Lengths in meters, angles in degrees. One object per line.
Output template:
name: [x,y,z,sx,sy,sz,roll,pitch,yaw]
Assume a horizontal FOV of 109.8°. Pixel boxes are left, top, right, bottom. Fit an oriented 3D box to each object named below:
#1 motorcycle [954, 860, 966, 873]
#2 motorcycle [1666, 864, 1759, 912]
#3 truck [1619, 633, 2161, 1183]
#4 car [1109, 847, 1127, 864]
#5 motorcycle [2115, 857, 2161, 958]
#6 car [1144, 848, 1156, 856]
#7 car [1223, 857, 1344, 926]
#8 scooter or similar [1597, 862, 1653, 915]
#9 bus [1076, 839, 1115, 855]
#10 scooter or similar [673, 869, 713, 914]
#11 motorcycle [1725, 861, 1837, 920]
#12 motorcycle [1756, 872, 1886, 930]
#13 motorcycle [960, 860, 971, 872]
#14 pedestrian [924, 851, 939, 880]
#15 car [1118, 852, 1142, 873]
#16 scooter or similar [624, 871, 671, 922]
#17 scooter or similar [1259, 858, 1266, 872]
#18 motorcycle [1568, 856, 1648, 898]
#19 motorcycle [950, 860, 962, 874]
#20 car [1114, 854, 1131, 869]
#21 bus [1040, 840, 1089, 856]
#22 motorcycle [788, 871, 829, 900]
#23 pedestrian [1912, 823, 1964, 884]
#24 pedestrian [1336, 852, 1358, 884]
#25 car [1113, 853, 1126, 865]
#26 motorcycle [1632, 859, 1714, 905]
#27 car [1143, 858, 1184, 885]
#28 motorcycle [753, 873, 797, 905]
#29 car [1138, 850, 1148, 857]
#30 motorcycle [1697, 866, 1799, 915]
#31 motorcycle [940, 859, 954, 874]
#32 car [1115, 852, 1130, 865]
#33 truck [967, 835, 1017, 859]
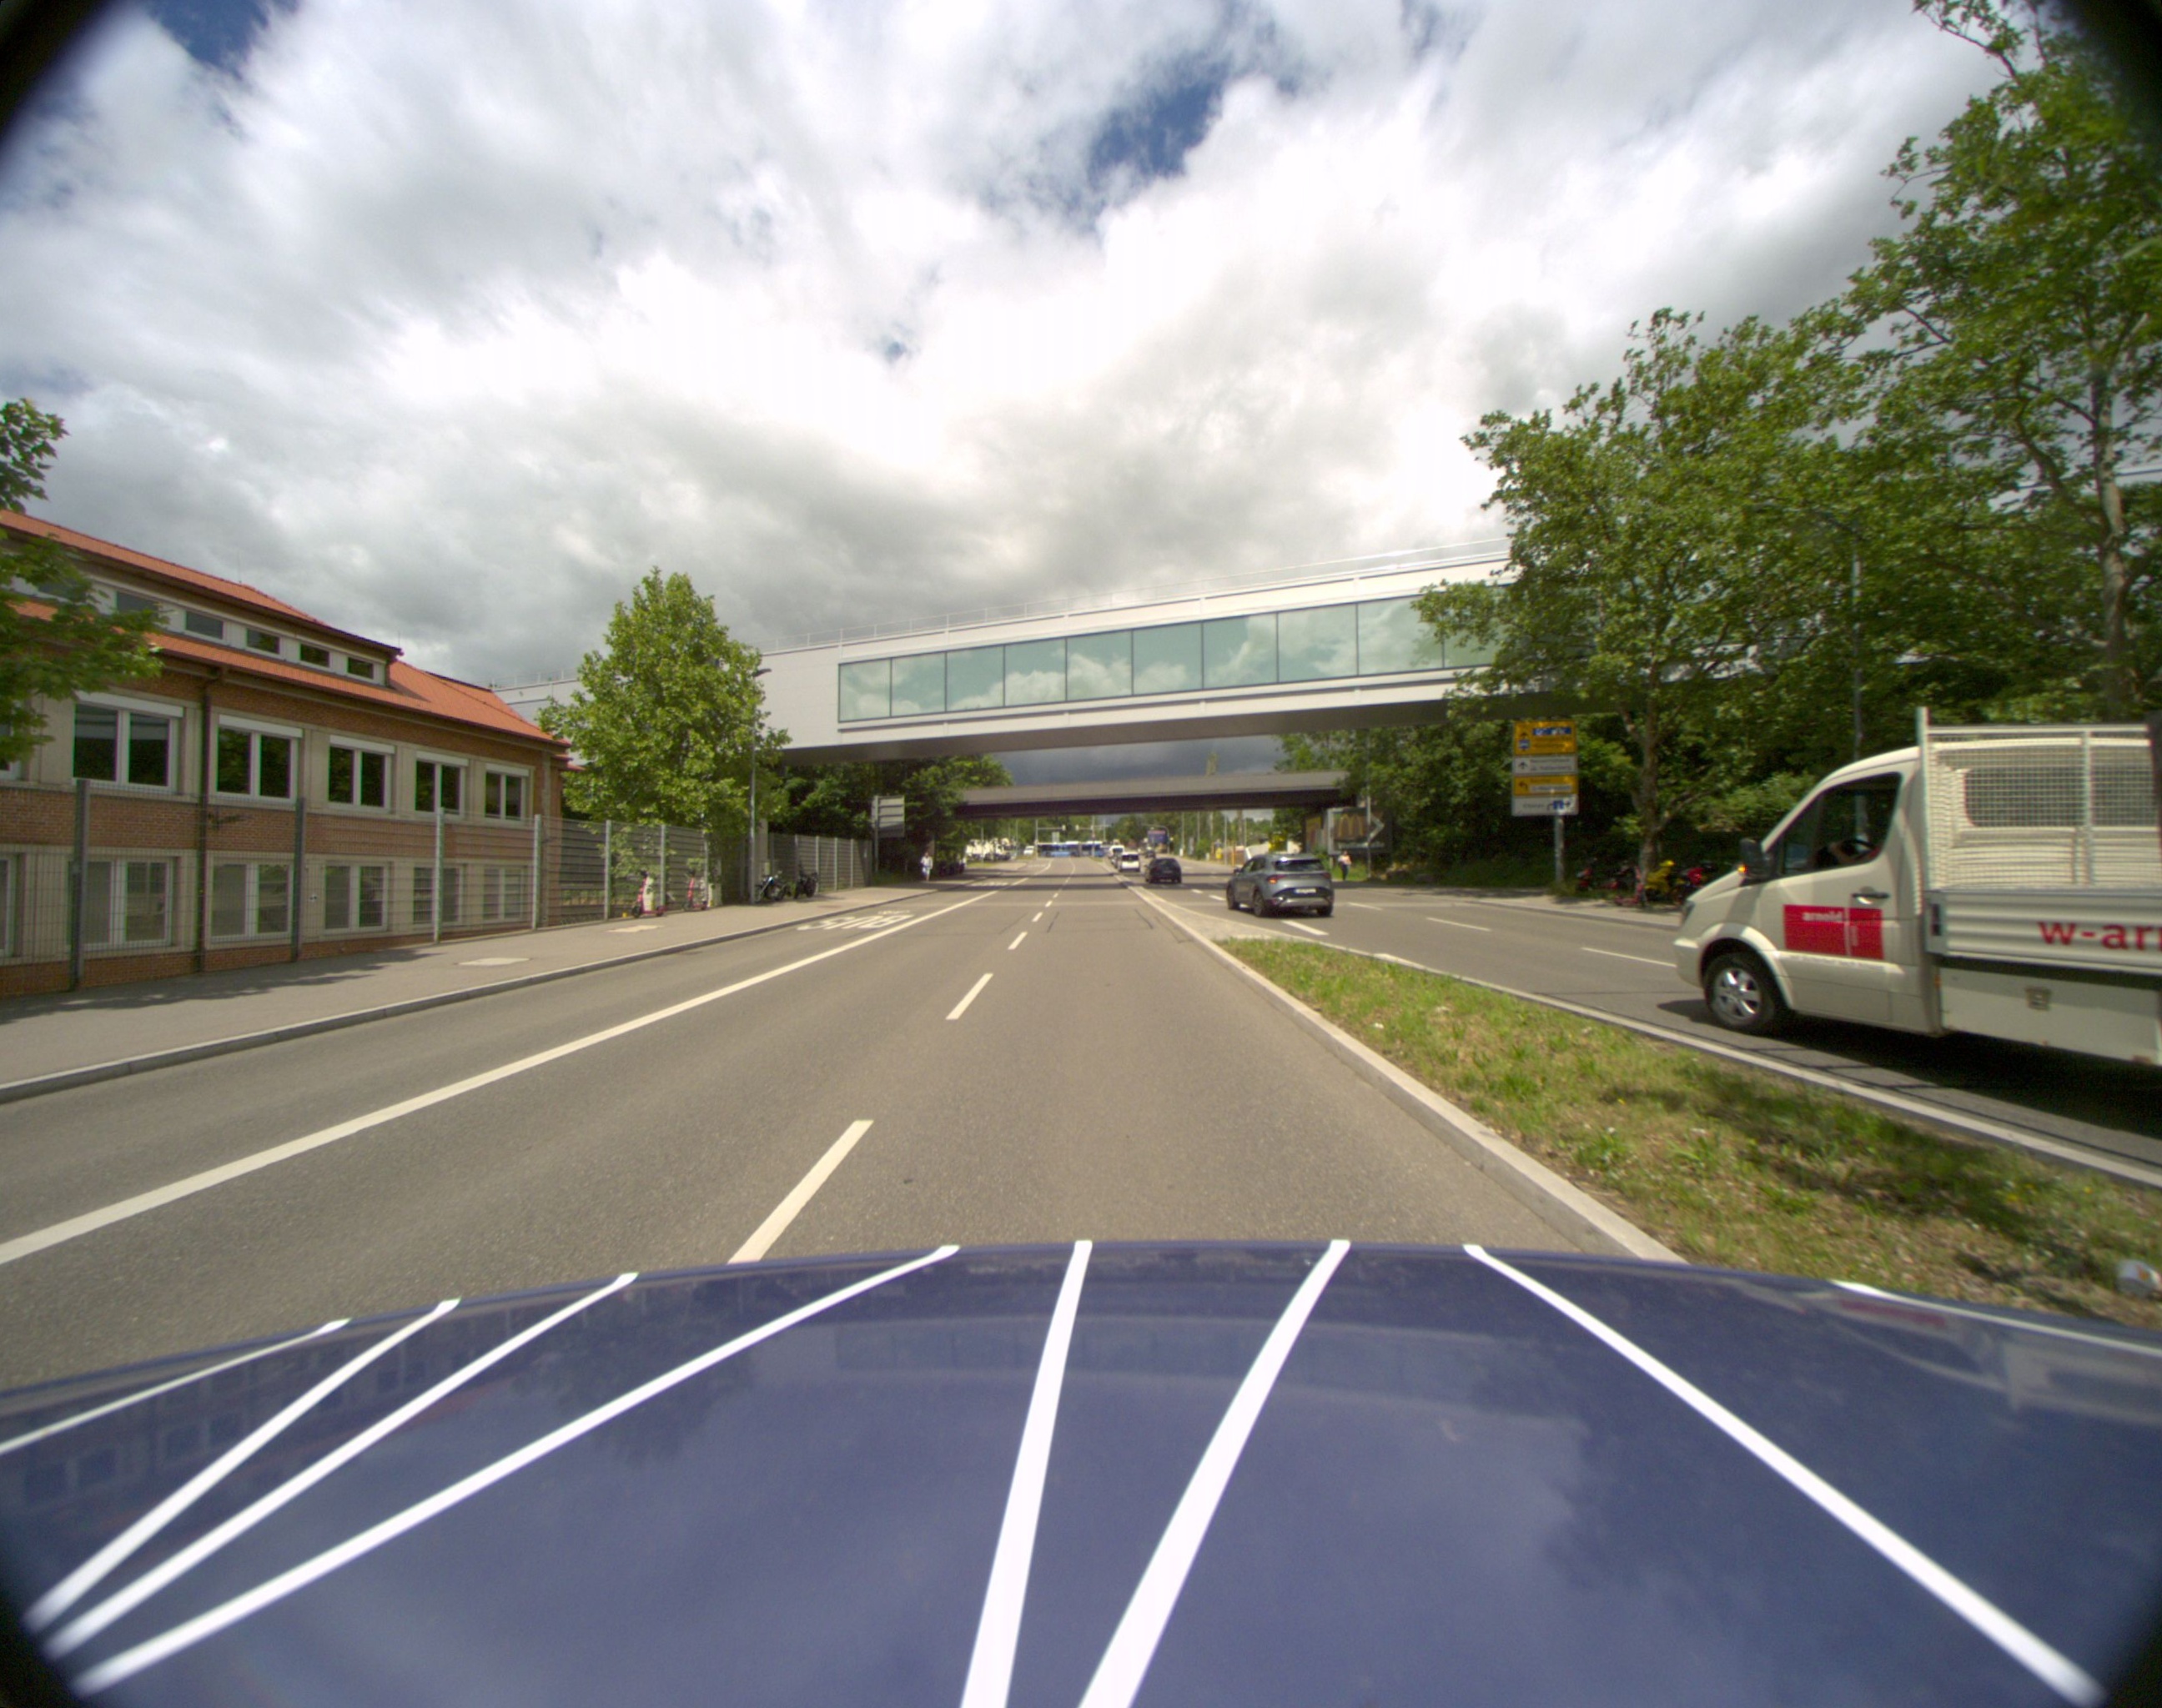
motorcycle: [-10.448,1.077,65.491,0.679,1.076,2.038,0,0,0]
motorcycle: [15.779,0.841,19.016,1.594,1.116,0.776,-3,-1,2]
truck: [6.626,0.260,4.433,2.485,2.735,6.458,-1,0,1]
car: [5.600,0.153,113.201,2.044,2.458,5.575,-2,0,8]
motorcycle: [15.462,0.677,10.024,1.934,1.336,0.866,-3,-1,22]
car: [12.584,-0.370,137.933,1.998,1.346,4.000,0,0,2]
car: [5.308,0.915,20.501,1.910,1.621,4.291,-1,0,-3]
scooter or similar: [13.695,0.841,19.160,0.355,1.229,1.479,-2,1,1]
bus: [2.793,-1.425,149.897,2.656,2.929,8.514,-3,1,-39]
scooter or similar: [-11.611,1.115,22.786,0.492,1.287,1.336,0,0,1]
motorcycle: [15.293,0.789,16.621,1.752,1.171,0.852,-3,-1,-10]
motorcycle: [15.111,0.949,15.550,1.938,1.109,0.920,1,1,-10]
motorcycle: [-10.292,1.042,67.897,0.679,1.076,2.180,0,0,0]
pedestrian: [-9.842,0.753,50.029,0.791,1.876,1.097,0,1,0]
car: [4.344,0.719,68.313,1.813,1.770,4.978,-1,0,0]
scooter or similar: [-11.640,1.123,20.448,0.492,1.287,1.336,0,0,1]
scooter or similar: [14.975,0.890,62.688,0.477,1.114,1.385,0,0,12]
motorcycle: [15.636,0.682,22.595,1.745,1.164,0.777,-3,-1,9]
motorcycle: [-10.373,1.066,63.182,0.679,1.136,2.160,0,0,0]
car: [4.450,0.784,81.961,1.713,1.480,3.983,-1,0,0]
bus: [-3.390,-1.281,154.700,9.762,2.919,2.656,-2,1,29]
motorcycle: [-10.976,1.238,30.668,0.709,1.058,2.510,2,0,0]
pedestrian: [24.422,-0.024,21.672,0.883,1.692,0.986,-1,1,42]
pedestrian: [13.980,0.717,39.925,0.769,1.602,0.813,-3,1,0]
car: [5.169,0.692,102.569,1.572,1.522,2.738,-1,0,0]
motorcycle: [15.785,0.746,20.281,1.596,1.116,0.776,-3,-1,-8]
car: [4.772,0.997,44.545,1.713,1.445,4.478,-1,0,-2]
motorcycle: [-11.106,1.245,27.638,0.670,1.058,2.247,2,0,0]
car: [13.513,-0.064,166.239,1.998,1.478,4.000,0,0,2]
motorcycle: [15.469,0.834,17.650,1.594,1.027,0.776,-3,-1,2]
motorcycle: [-10.706,0.996,60.644,0.679,1.148,2.113,0,0,2]
car: [4.913,0.529,90.615,1.509,1.480,3.115,-1,0,-1]
truck: [-16.201,-1.276,137.778,10.058,3.981,2.795,-2,0,40]
